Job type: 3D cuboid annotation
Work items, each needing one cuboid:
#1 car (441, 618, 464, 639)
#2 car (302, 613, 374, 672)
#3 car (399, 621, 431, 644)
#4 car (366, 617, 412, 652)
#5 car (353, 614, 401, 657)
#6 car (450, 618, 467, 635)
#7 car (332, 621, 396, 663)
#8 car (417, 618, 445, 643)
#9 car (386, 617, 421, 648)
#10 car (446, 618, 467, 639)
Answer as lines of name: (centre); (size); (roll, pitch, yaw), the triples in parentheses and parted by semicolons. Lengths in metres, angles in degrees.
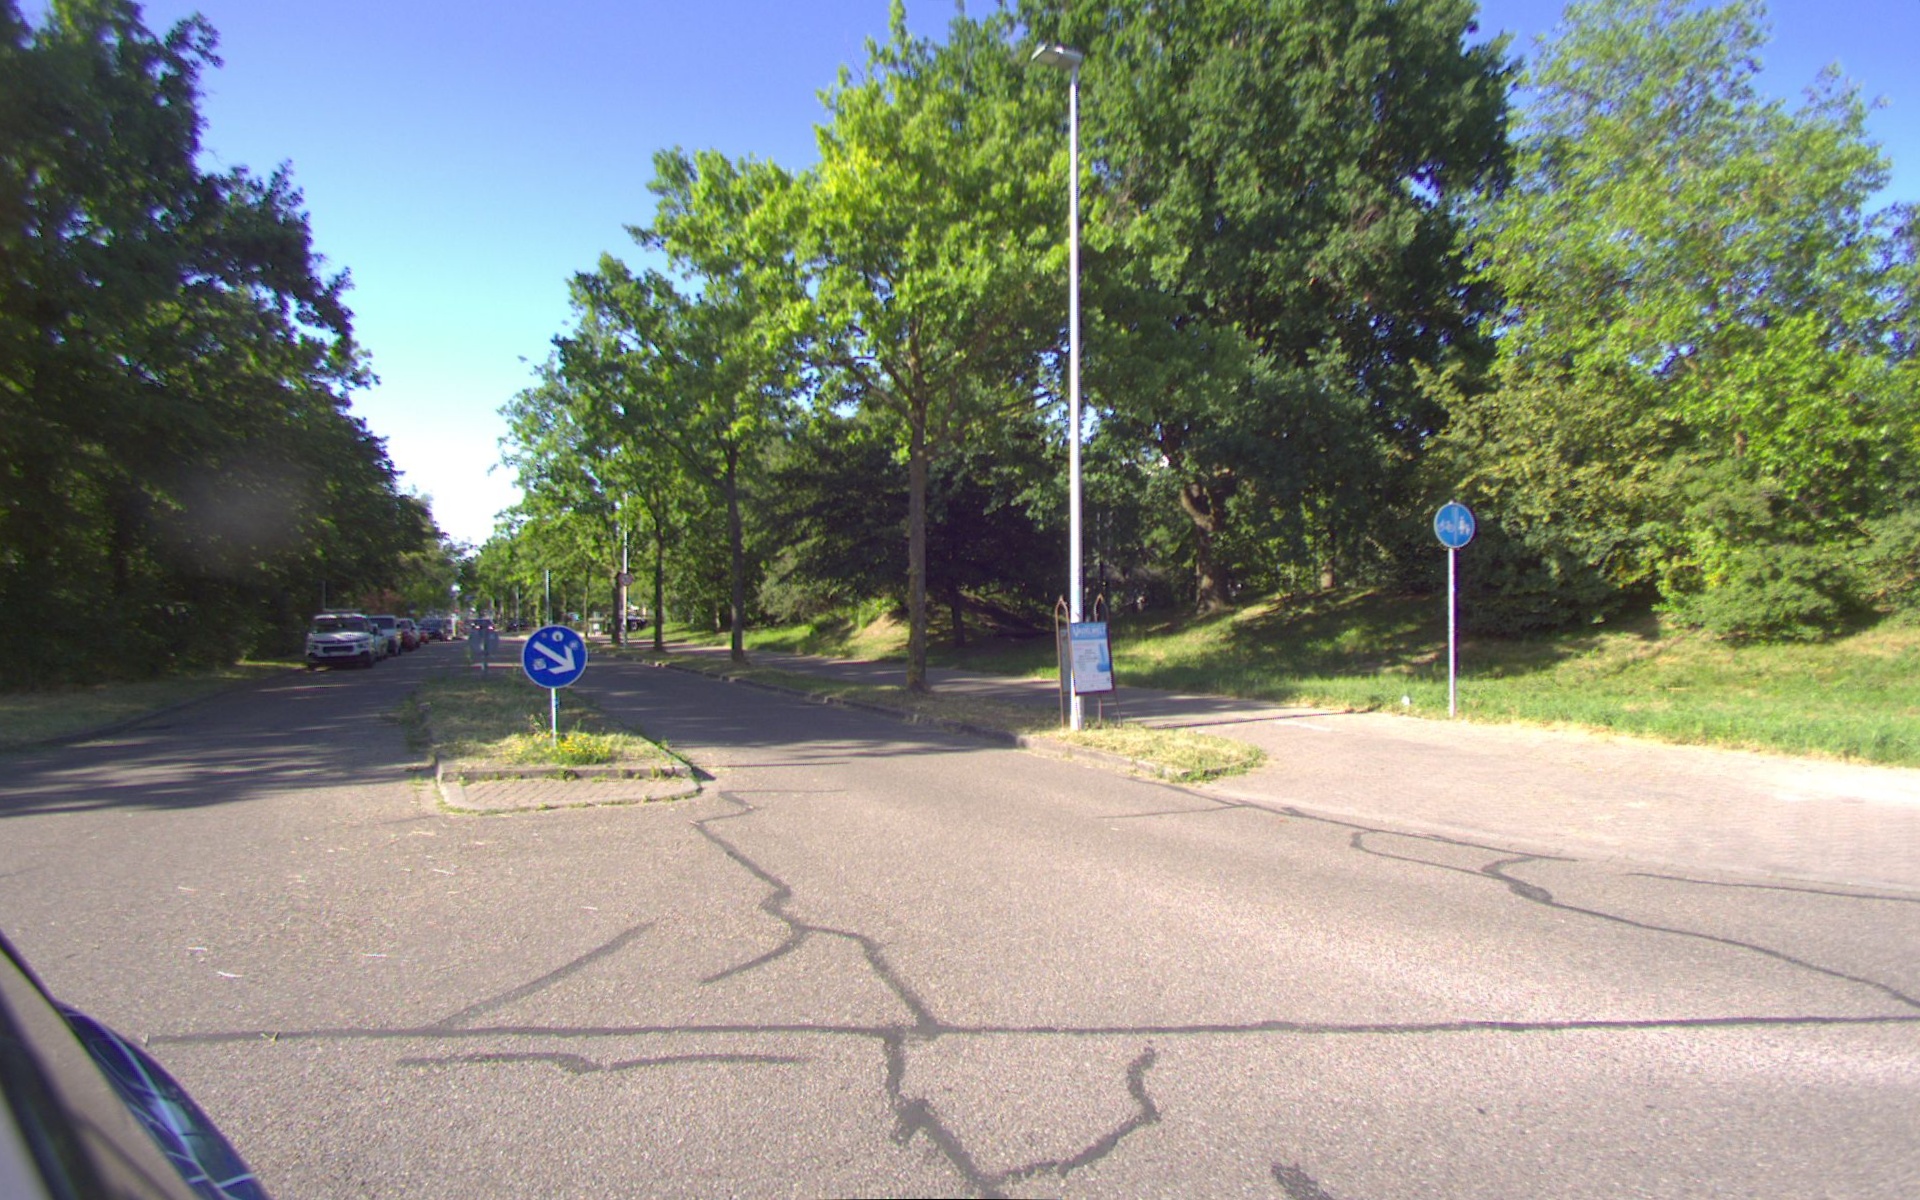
car: (-40.278, 2.252, 80.418); (1.425, 1.666, 3.732); (-1, -1, -24)
car: (-20.276, 1.313, 33.138); (1.725, 1.762, 4.649); (-1, -1, -28)
car: (-35.161, 2.080, 65.337); (1.475, 1.369, 3.478); (-1, -1, -24)
car: (-28.444, 1.716, 50.520); (1.743, 1.651, 3.765); (-1, -1, -26)
car: (-25.082, 1.496, 43.619); (1.475, 1.768, 3.814); (-1, -1, -26)
car: (-50.648, 2.665, 102.227); (1.398, 1.666, 3.922); (-1, -1, -24)
car: (-22.718, 1.565, 38.686); (1.694, 1.455, 4.629); (-2, -1, -26)
car: (-37.349, 2.159, 71.528); (1.475, 1.666, 4.105); (-1, -1, -24)
car: (-31.067, 1.783, 56.571); (1.475, 1.651, 3.765); (-1, -1, -26)
car: (-42.197, 2.353, 84.866); (1.425, 1.666, 3.732); (-1, -1, -24)
